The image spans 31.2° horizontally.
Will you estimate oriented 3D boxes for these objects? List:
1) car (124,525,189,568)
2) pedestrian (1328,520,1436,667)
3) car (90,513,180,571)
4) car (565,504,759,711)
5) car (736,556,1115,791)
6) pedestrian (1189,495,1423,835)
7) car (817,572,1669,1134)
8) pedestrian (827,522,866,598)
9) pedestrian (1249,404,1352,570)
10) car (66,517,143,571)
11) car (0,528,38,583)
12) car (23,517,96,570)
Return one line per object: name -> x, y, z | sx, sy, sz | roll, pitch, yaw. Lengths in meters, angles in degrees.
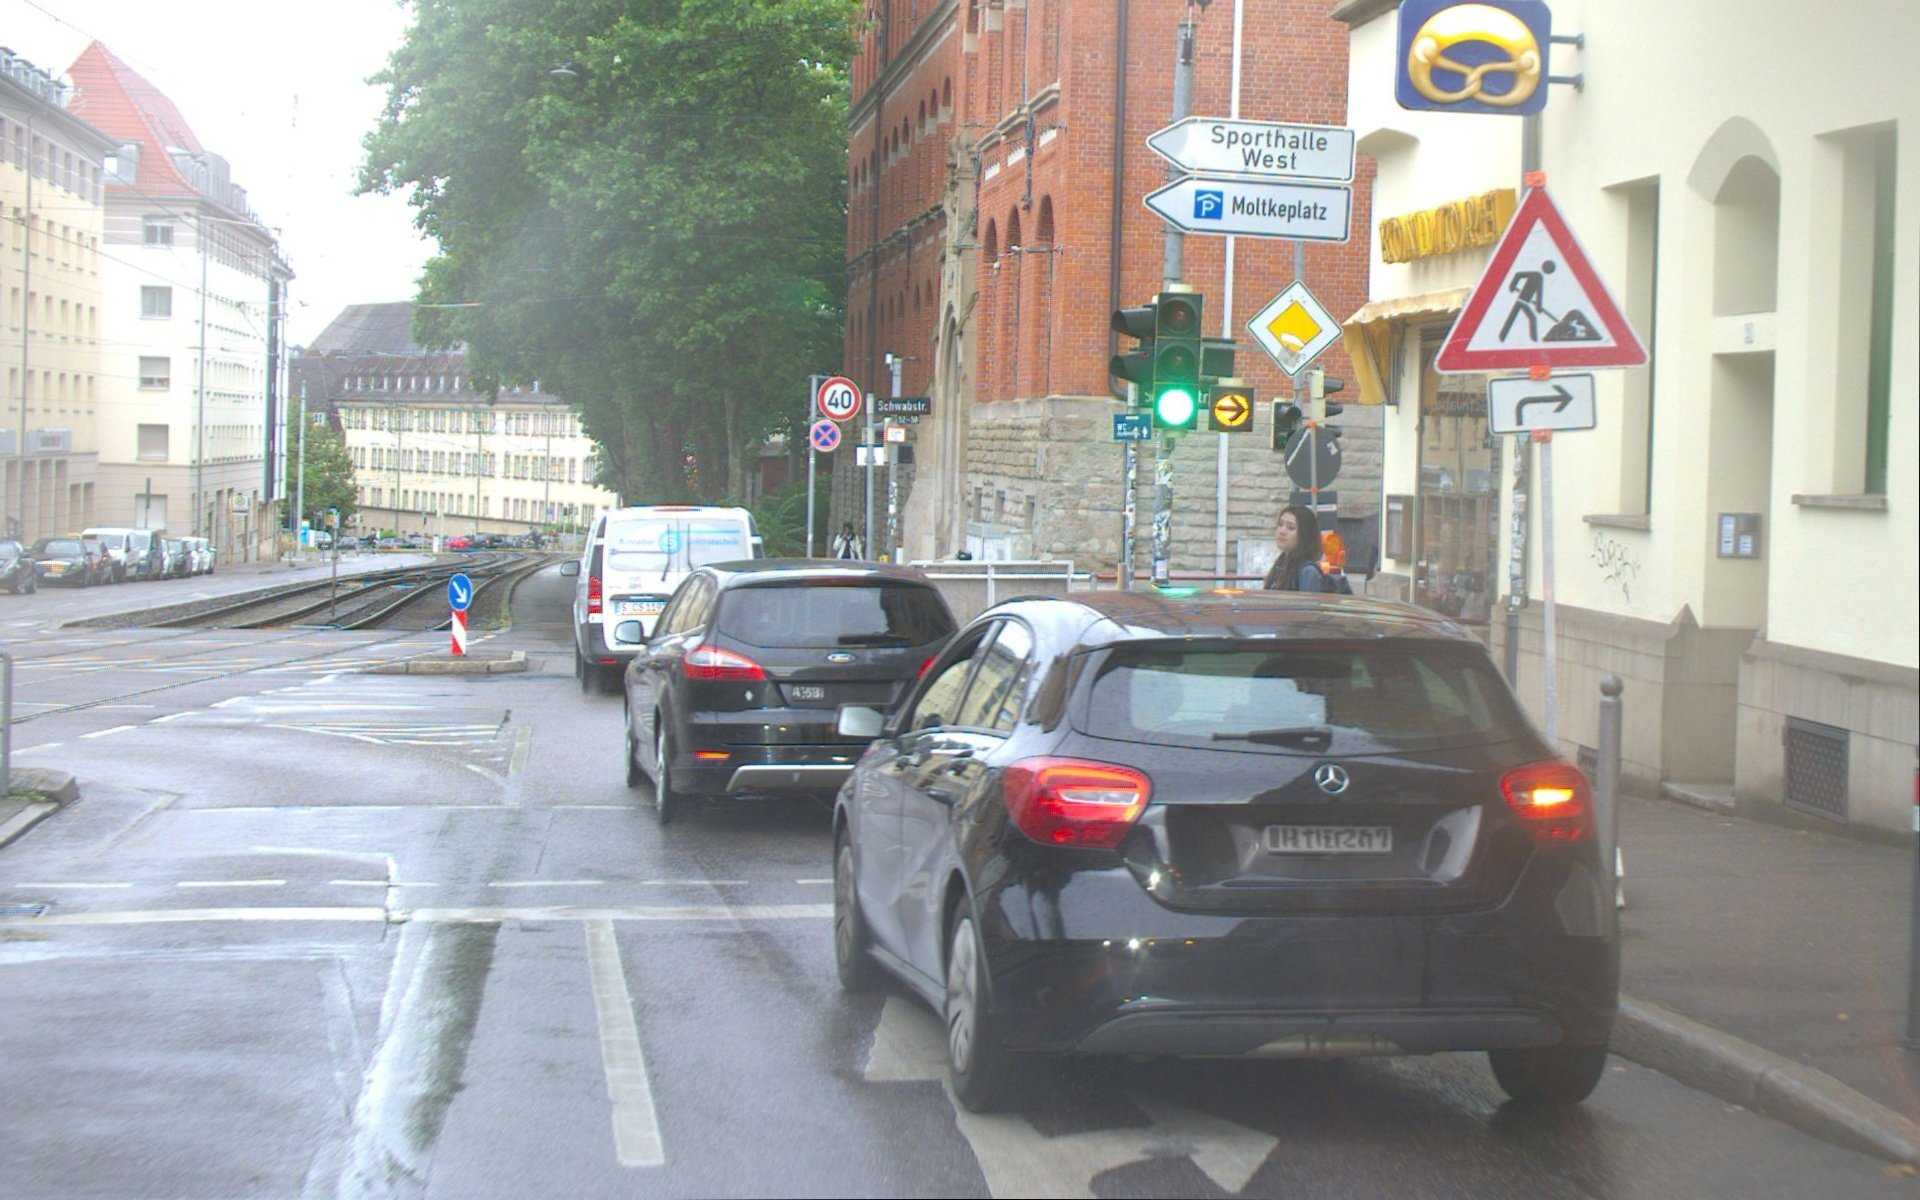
car -> -30.049, -2.014, 128.685 | 1.813, 1.494, 4.583 | 2, 1, -7
pedestrian -> 4.745, -0.081, 38.687 | 0.958, 1.620, 1.074 | -1, 1, -7
car -> -28.613, -2.020, 119.413 | 1.993, 1.898, 5.460 | 3, 1, -3
car -> -3.137, 0.056, 35.618 | 1.740, 2.007, 3.905 | 1, 1, -8
car -> -0.346, 0.446, 23.961 | 1.933, 1.448, 4.319 | 2, 0, -10
pedestrian -> 1.821, 0.330, 18.228 | 1.016, 1.714, 0.930 | -2, 1, -5
car -> 0.648, 0.636, 10.701 | 1.794, 1.370, 4.001 | 2, 0, -7
pedestrian -> -2.522, -0.894, 76.433 | 0.823, 1.673, 0.860 | 1, 0, -4
pedestrian -> 3.918, -1.295, 39.626 | 0.958, 1.881, 1.074 | -1, 1, -7
car -> -28.146, -1.833, 113.215 | 1.867, 1.711, 4.461 | 1, 1, -6
car -> -24.910, -1.155, 88.559 | 1.679, 1.391, 4.623 | 1, 1, -8
car -> -26.630, -1.674, 101.772 | 1.851, 1.503, 4.993 | 1, 1, -12
